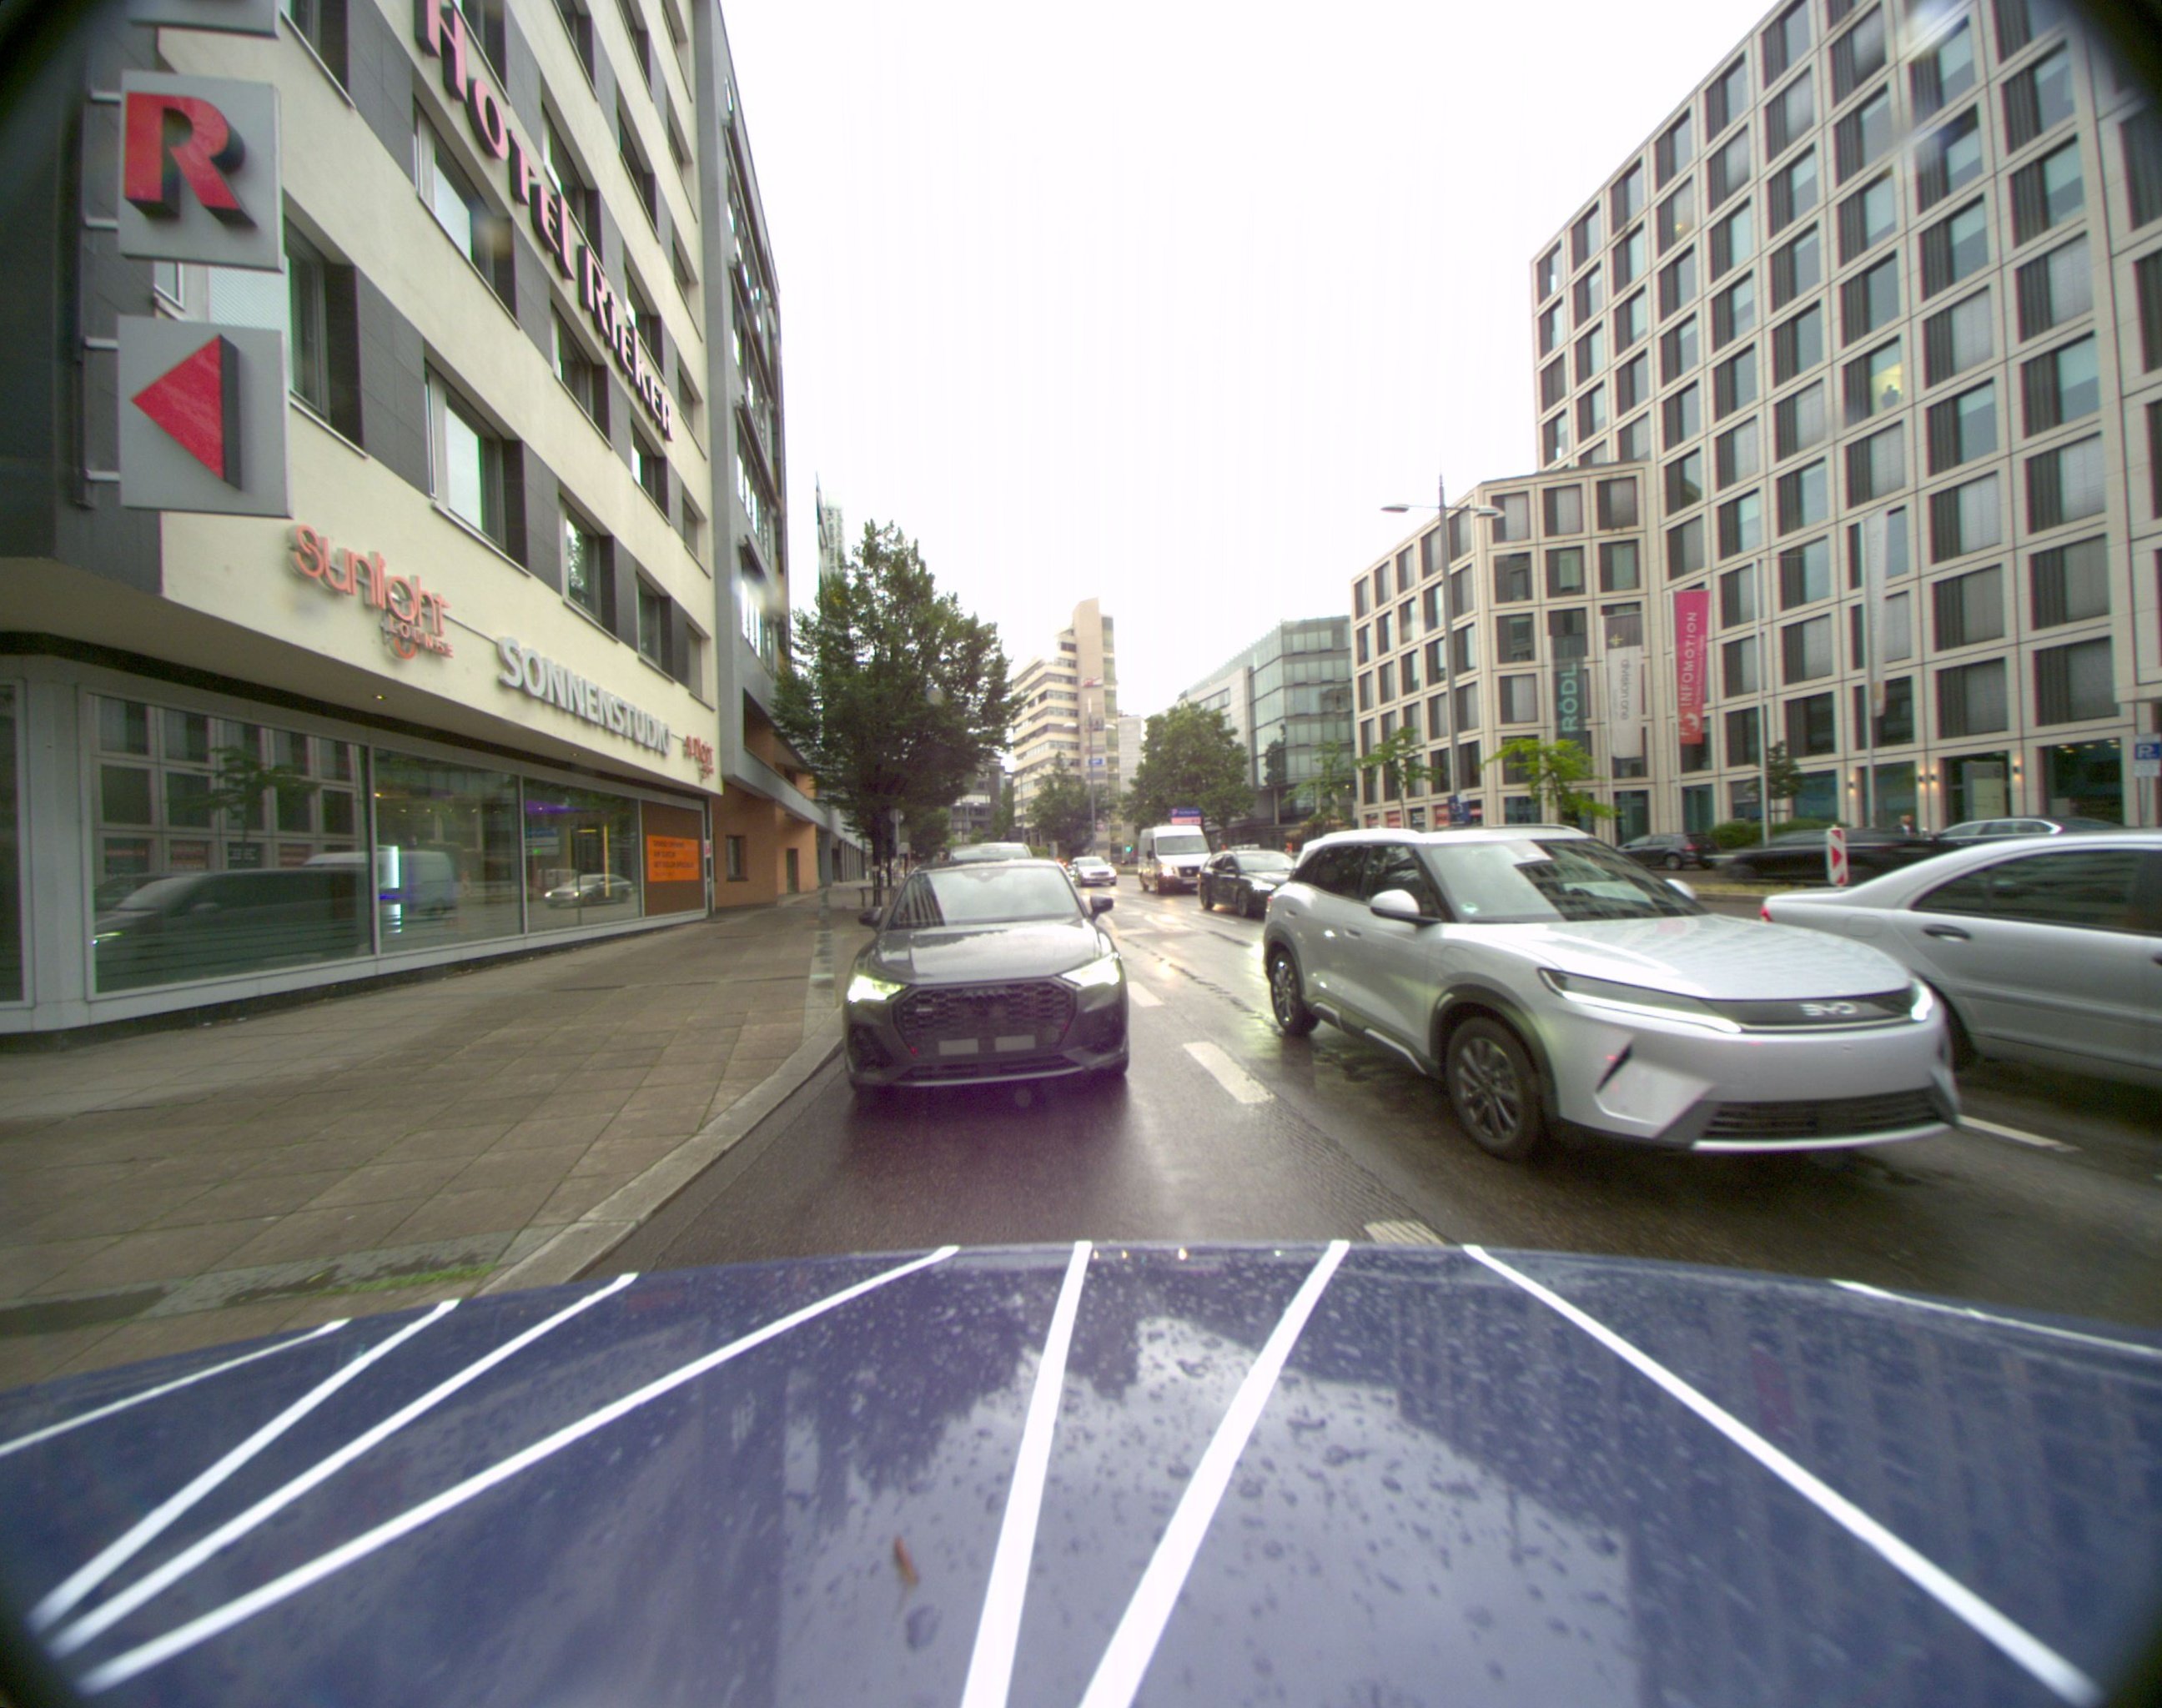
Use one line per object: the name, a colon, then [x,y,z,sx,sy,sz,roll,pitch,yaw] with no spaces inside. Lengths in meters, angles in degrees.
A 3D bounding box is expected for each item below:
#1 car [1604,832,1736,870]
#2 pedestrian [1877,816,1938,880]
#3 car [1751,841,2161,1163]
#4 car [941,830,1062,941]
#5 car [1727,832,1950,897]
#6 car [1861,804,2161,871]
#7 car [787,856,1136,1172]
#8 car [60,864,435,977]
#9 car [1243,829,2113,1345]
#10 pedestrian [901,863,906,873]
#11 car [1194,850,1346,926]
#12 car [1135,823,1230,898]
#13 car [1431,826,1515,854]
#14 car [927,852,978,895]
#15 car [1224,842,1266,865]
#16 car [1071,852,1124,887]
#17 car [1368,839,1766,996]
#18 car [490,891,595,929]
car: [23.197,-0.112,30.113,1.703,1.415,3.951,-1,0,-12]
pedestrian: [23.416,-0.168,21.541,0.614,1.724,0.966,-3,1,-10]
car: [5.824,0.680,3.263,1.738,1.396,4.380,-3,1,-6]
car: [-1.740,0.528,16.199,2.061,1.881,5.045,-3,1,-7]
car: [19.710,0.252,20.017,1.703,1.510,3.870,-1,0,-12]
car: [24.915,-0.391,20.591,1.703,1.560,5.178,-1,0,-12]
car: [-0.774,0.871,6.339,1.802,1.543,4.386,-3,1,-4]
car: [-15.679,1.118,14.869,1.999,1.600,4.925,-3,1,-4]
car: [2.601,0.765,4.725,1.813,1.651,4.167,-3,1,-6]
pedestrian: [-28.690,2.277,122.861,0.654,1.589,1.057,-4,1,-18]
car: [4.173,0.676,17.549,1.905,1.393,4.238,-3,1,-8]
car: [3.583,0.182,28.130,2.260,2.371,5.716,-3,1,-4]
car: [21.256,-0.714,41.396,1.703,1.415,4.369,-1,0,-12]
car: [-6.383,0.882,37.345,2.061,1.881,5.043,-3,1,-13]
car: [15.585,-0.050,72.601,2.000,2.002,4.910,-3,1,-12]
car: [0.737,0.714,37.090,1.786,1.499,3.996,-3,1,-9]
car: [5.769,0.620,9.725,1.776,1.470,4.122,-3,1,-15]
car: [-23.668,2.433,33.510,3.391,1.322,1.564,-3,1,-15]
